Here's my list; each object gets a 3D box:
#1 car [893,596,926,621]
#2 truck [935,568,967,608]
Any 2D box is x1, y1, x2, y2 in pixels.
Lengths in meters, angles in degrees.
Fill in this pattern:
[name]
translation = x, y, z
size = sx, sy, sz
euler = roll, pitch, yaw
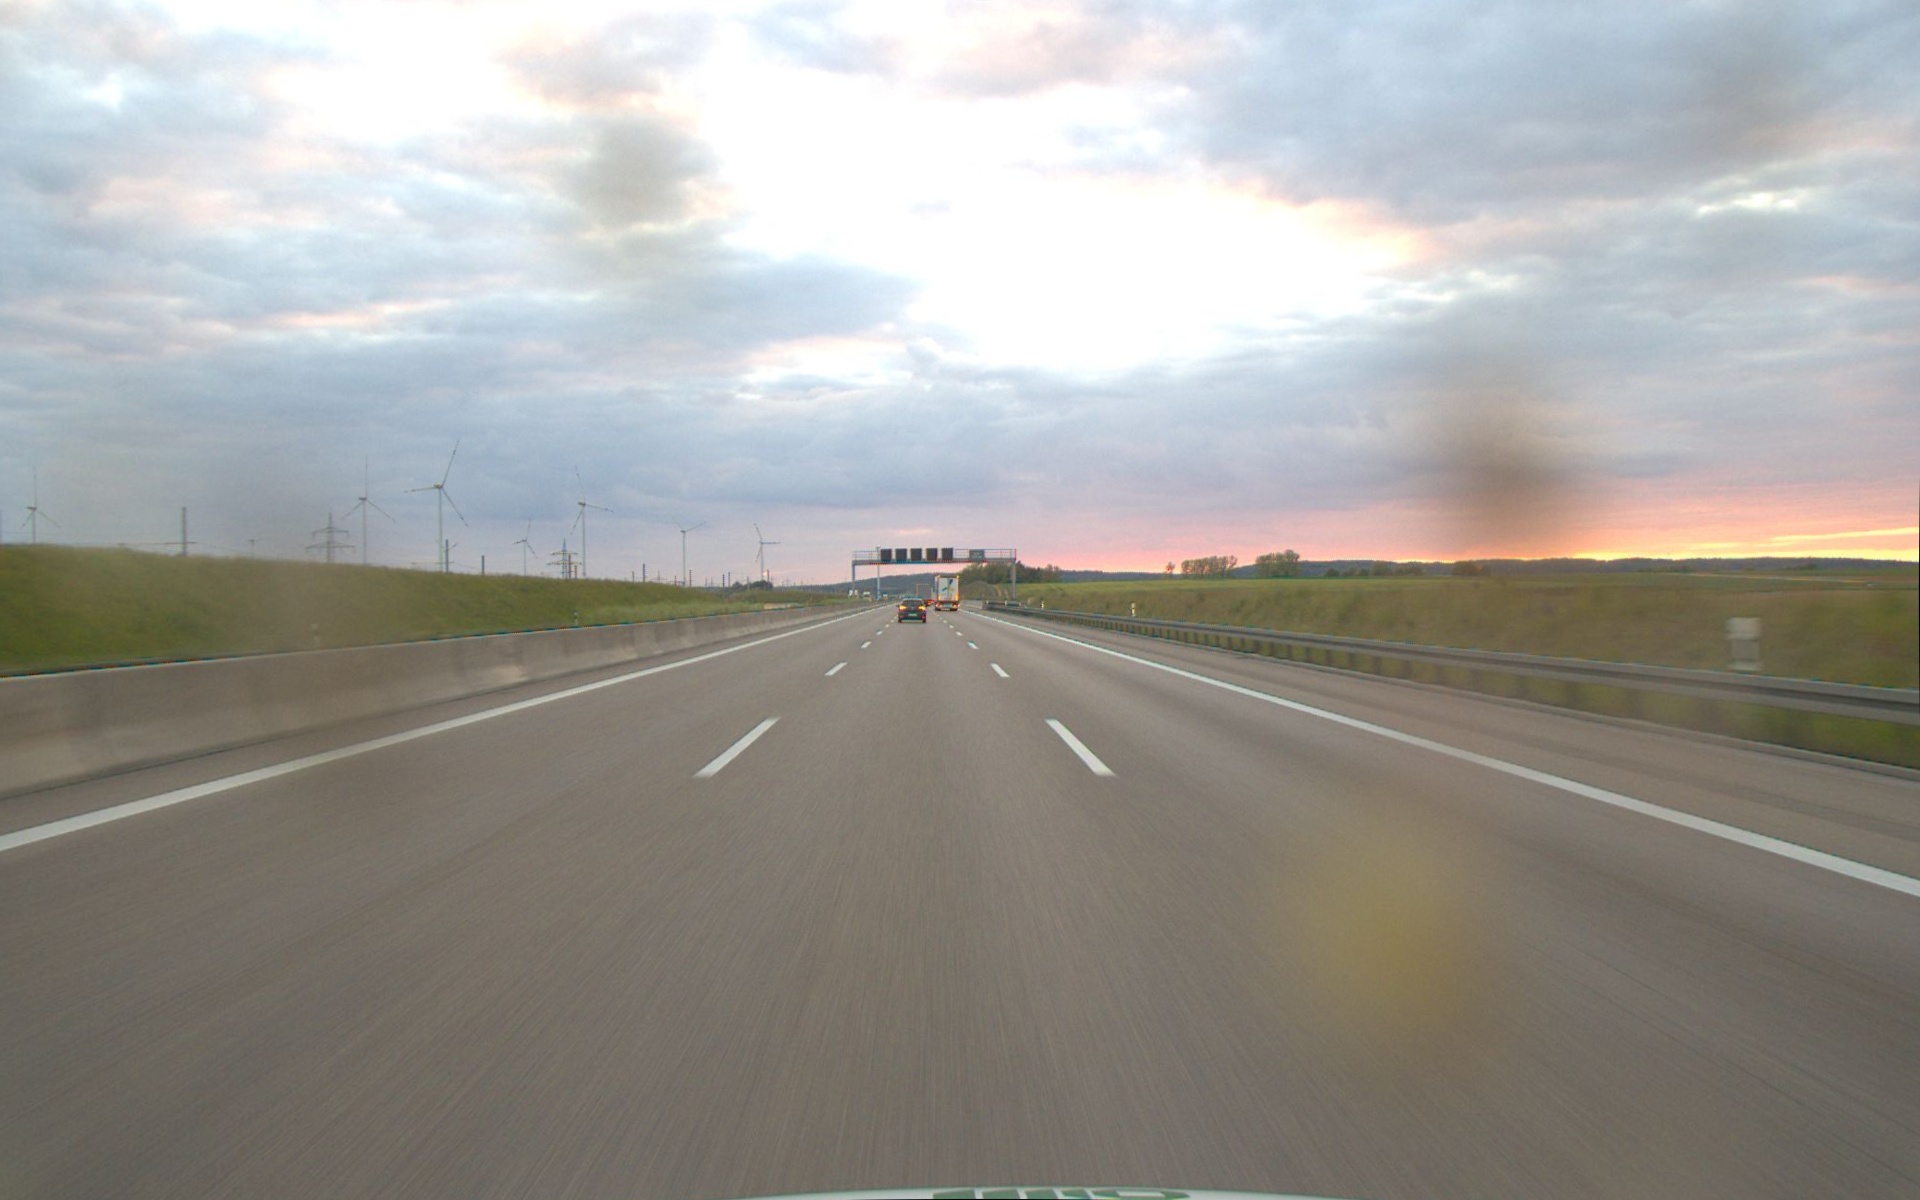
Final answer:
[car]
translation = -3.057, 0.490, 100.637
size = 1.947, 1.454, 3.999
euler = -1, 1, -1
[truck]
translation = -1.100, -1.397, 198.274
size = 3.601, 4.644, 10.978
euler = 0, 0, -1
